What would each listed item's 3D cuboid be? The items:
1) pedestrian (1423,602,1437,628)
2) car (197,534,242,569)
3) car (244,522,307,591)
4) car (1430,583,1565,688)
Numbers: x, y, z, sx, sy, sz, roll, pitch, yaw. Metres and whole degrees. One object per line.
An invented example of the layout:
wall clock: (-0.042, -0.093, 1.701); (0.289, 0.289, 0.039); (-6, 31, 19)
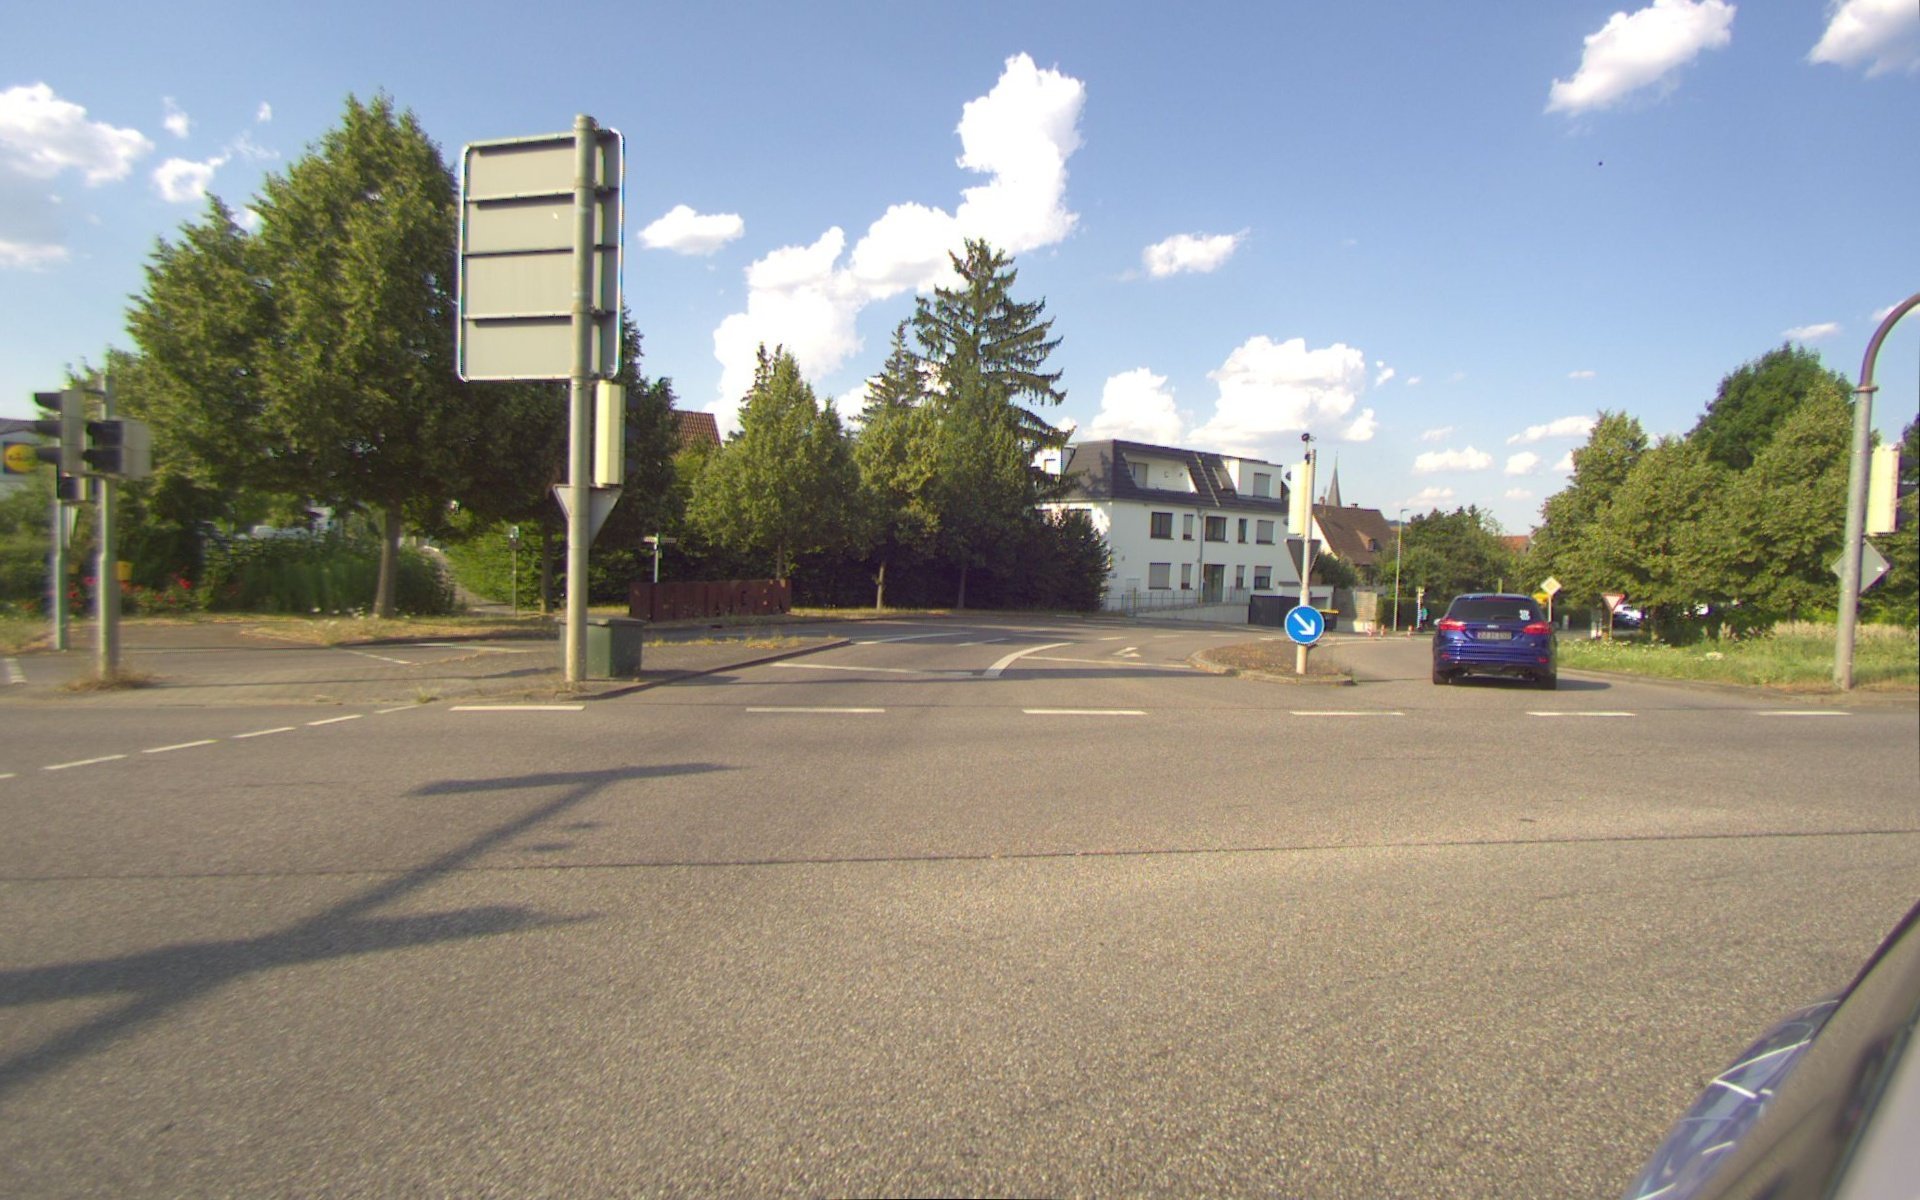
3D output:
pedestrian: (32.368, 1.049, 69.707); (0.628, 1.750, 0.617); (0, 1, -40)
car: (-35.764, -2.296, 48.853); (1.579, 1.600, 3.583); (0, 1, -40)
car: (-27.125, -1.662, 40.216); (1.961, 2.538, 5.142); (0, 1, -33)
car: (9.060, 0.496, 16.916); (1.779, 1.516, 4.255); (0, 0, 31)
